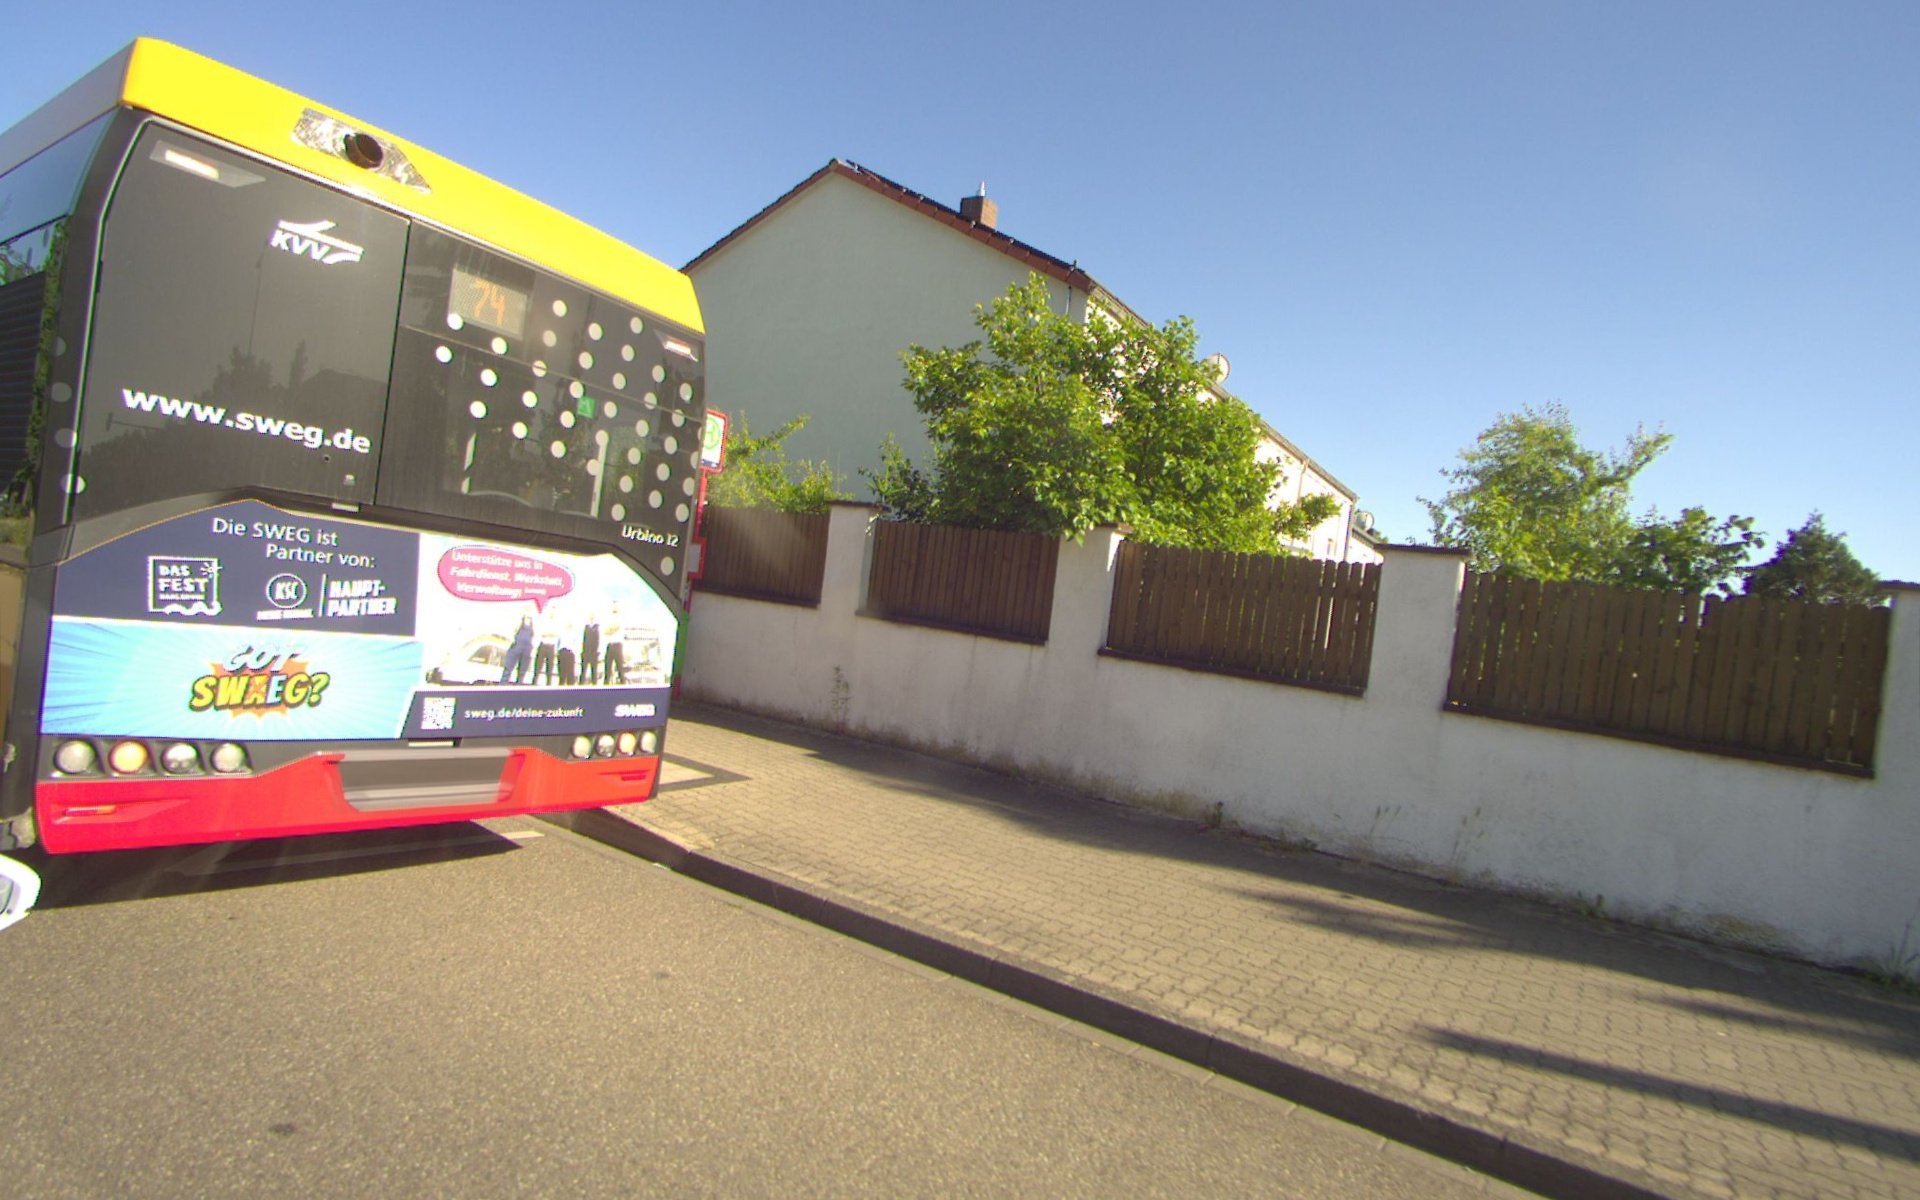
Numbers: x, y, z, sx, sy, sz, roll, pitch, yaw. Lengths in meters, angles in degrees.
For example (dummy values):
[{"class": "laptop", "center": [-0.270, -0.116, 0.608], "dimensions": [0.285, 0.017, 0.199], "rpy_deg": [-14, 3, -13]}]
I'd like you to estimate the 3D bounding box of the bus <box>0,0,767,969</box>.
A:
[{"class": "bus", "center": [-6.713, -1.115, 7.382], "dimensions": [12.211, 3.502, 2.755], "rpy_deg": [6, 0, 37]}]
